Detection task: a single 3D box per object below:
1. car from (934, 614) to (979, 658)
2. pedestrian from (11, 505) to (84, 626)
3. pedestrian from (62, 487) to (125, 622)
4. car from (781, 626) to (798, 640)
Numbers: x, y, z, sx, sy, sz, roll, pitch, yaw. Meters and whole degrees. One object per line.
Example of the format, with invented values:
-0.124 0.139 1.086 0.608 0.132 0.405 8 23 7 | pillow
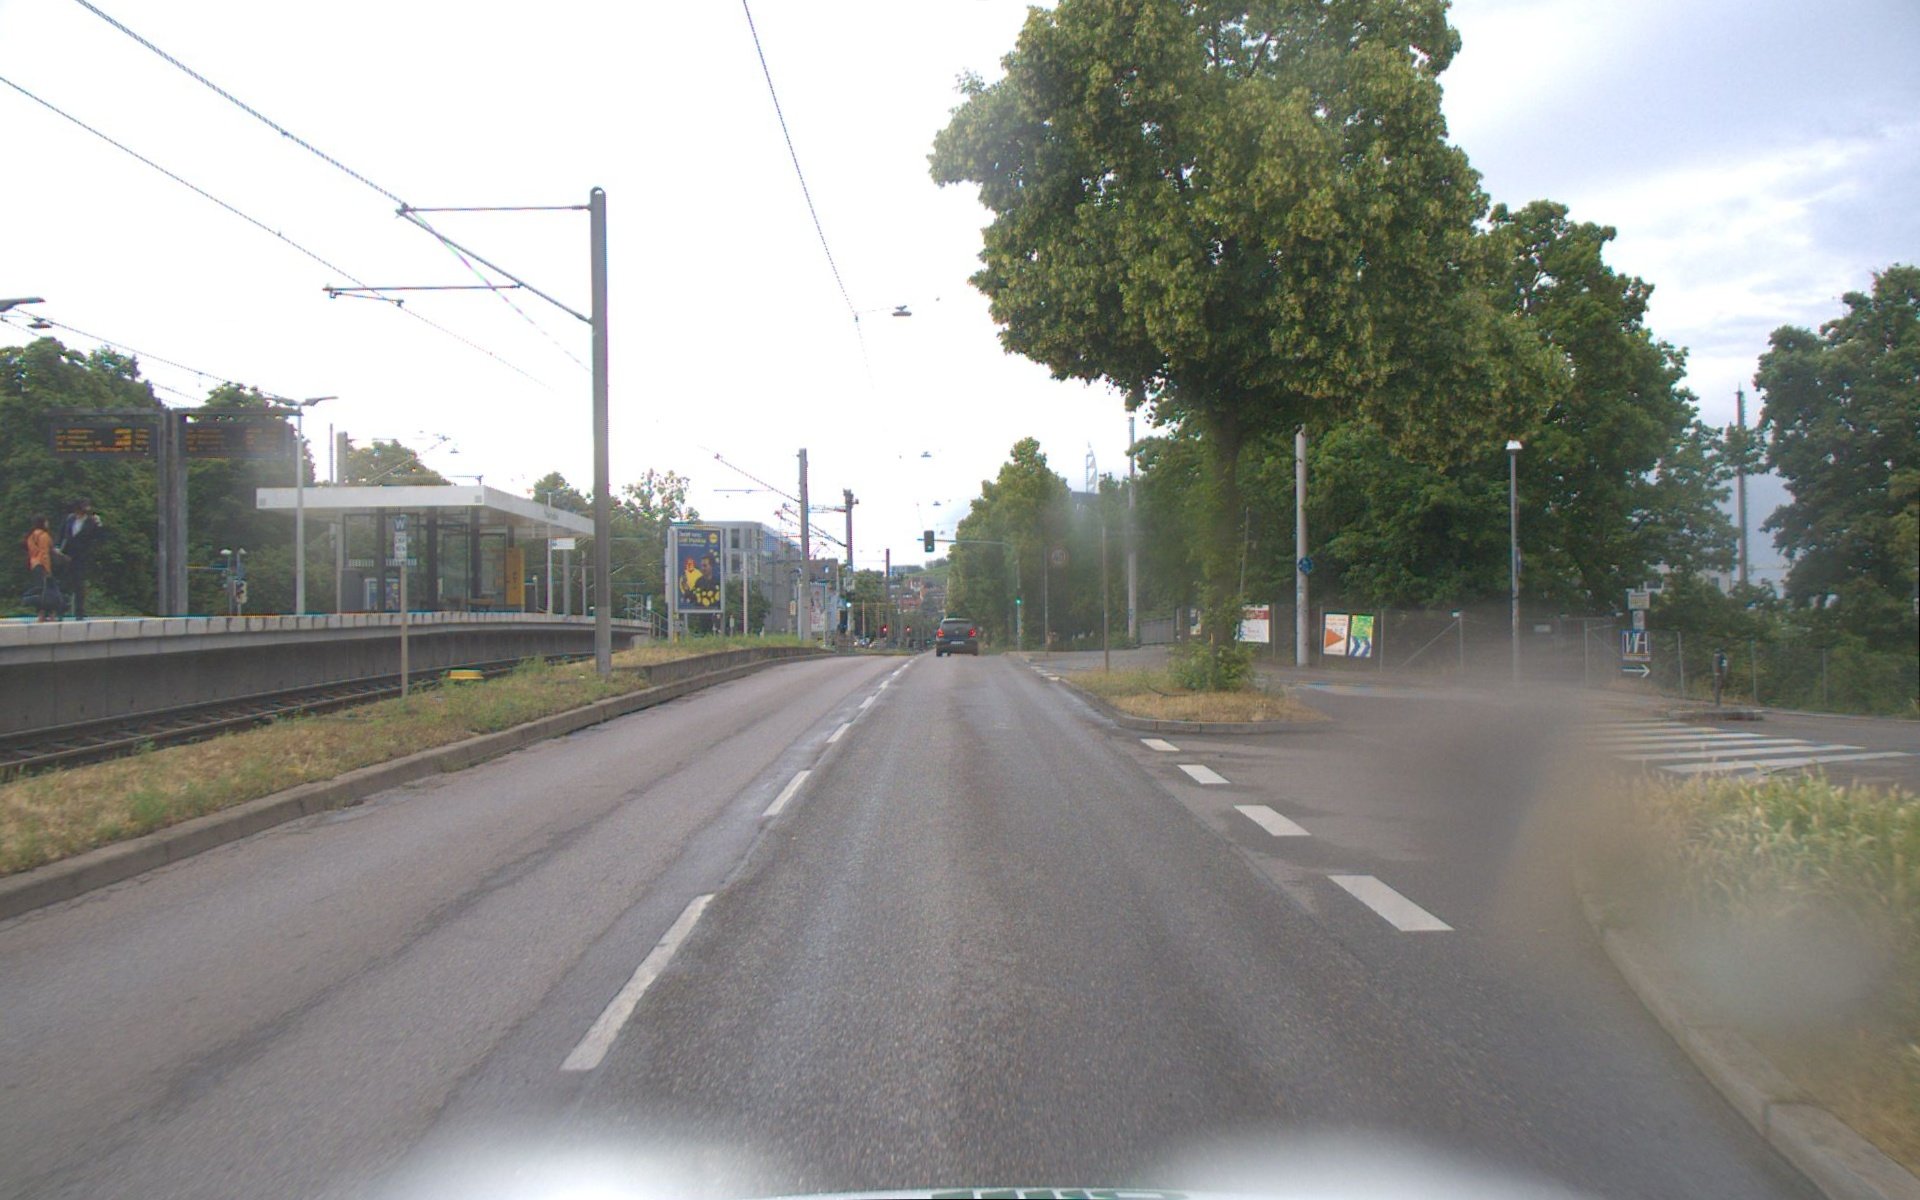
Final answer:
-0.162 1.387 64.726 1.692 1.567 3.999 -1 1 -1 | car
-12.855 -0.490 23.332 0.784 1.675 0.913 0 2 -22 | pedestrian
-12.748 -0.662 24.350 0.733 1.942 0.836 1 2 -22 | pedestrian
-24.048 4.652 233.284 1.811 1.660 3.611 2 1 4 | car
